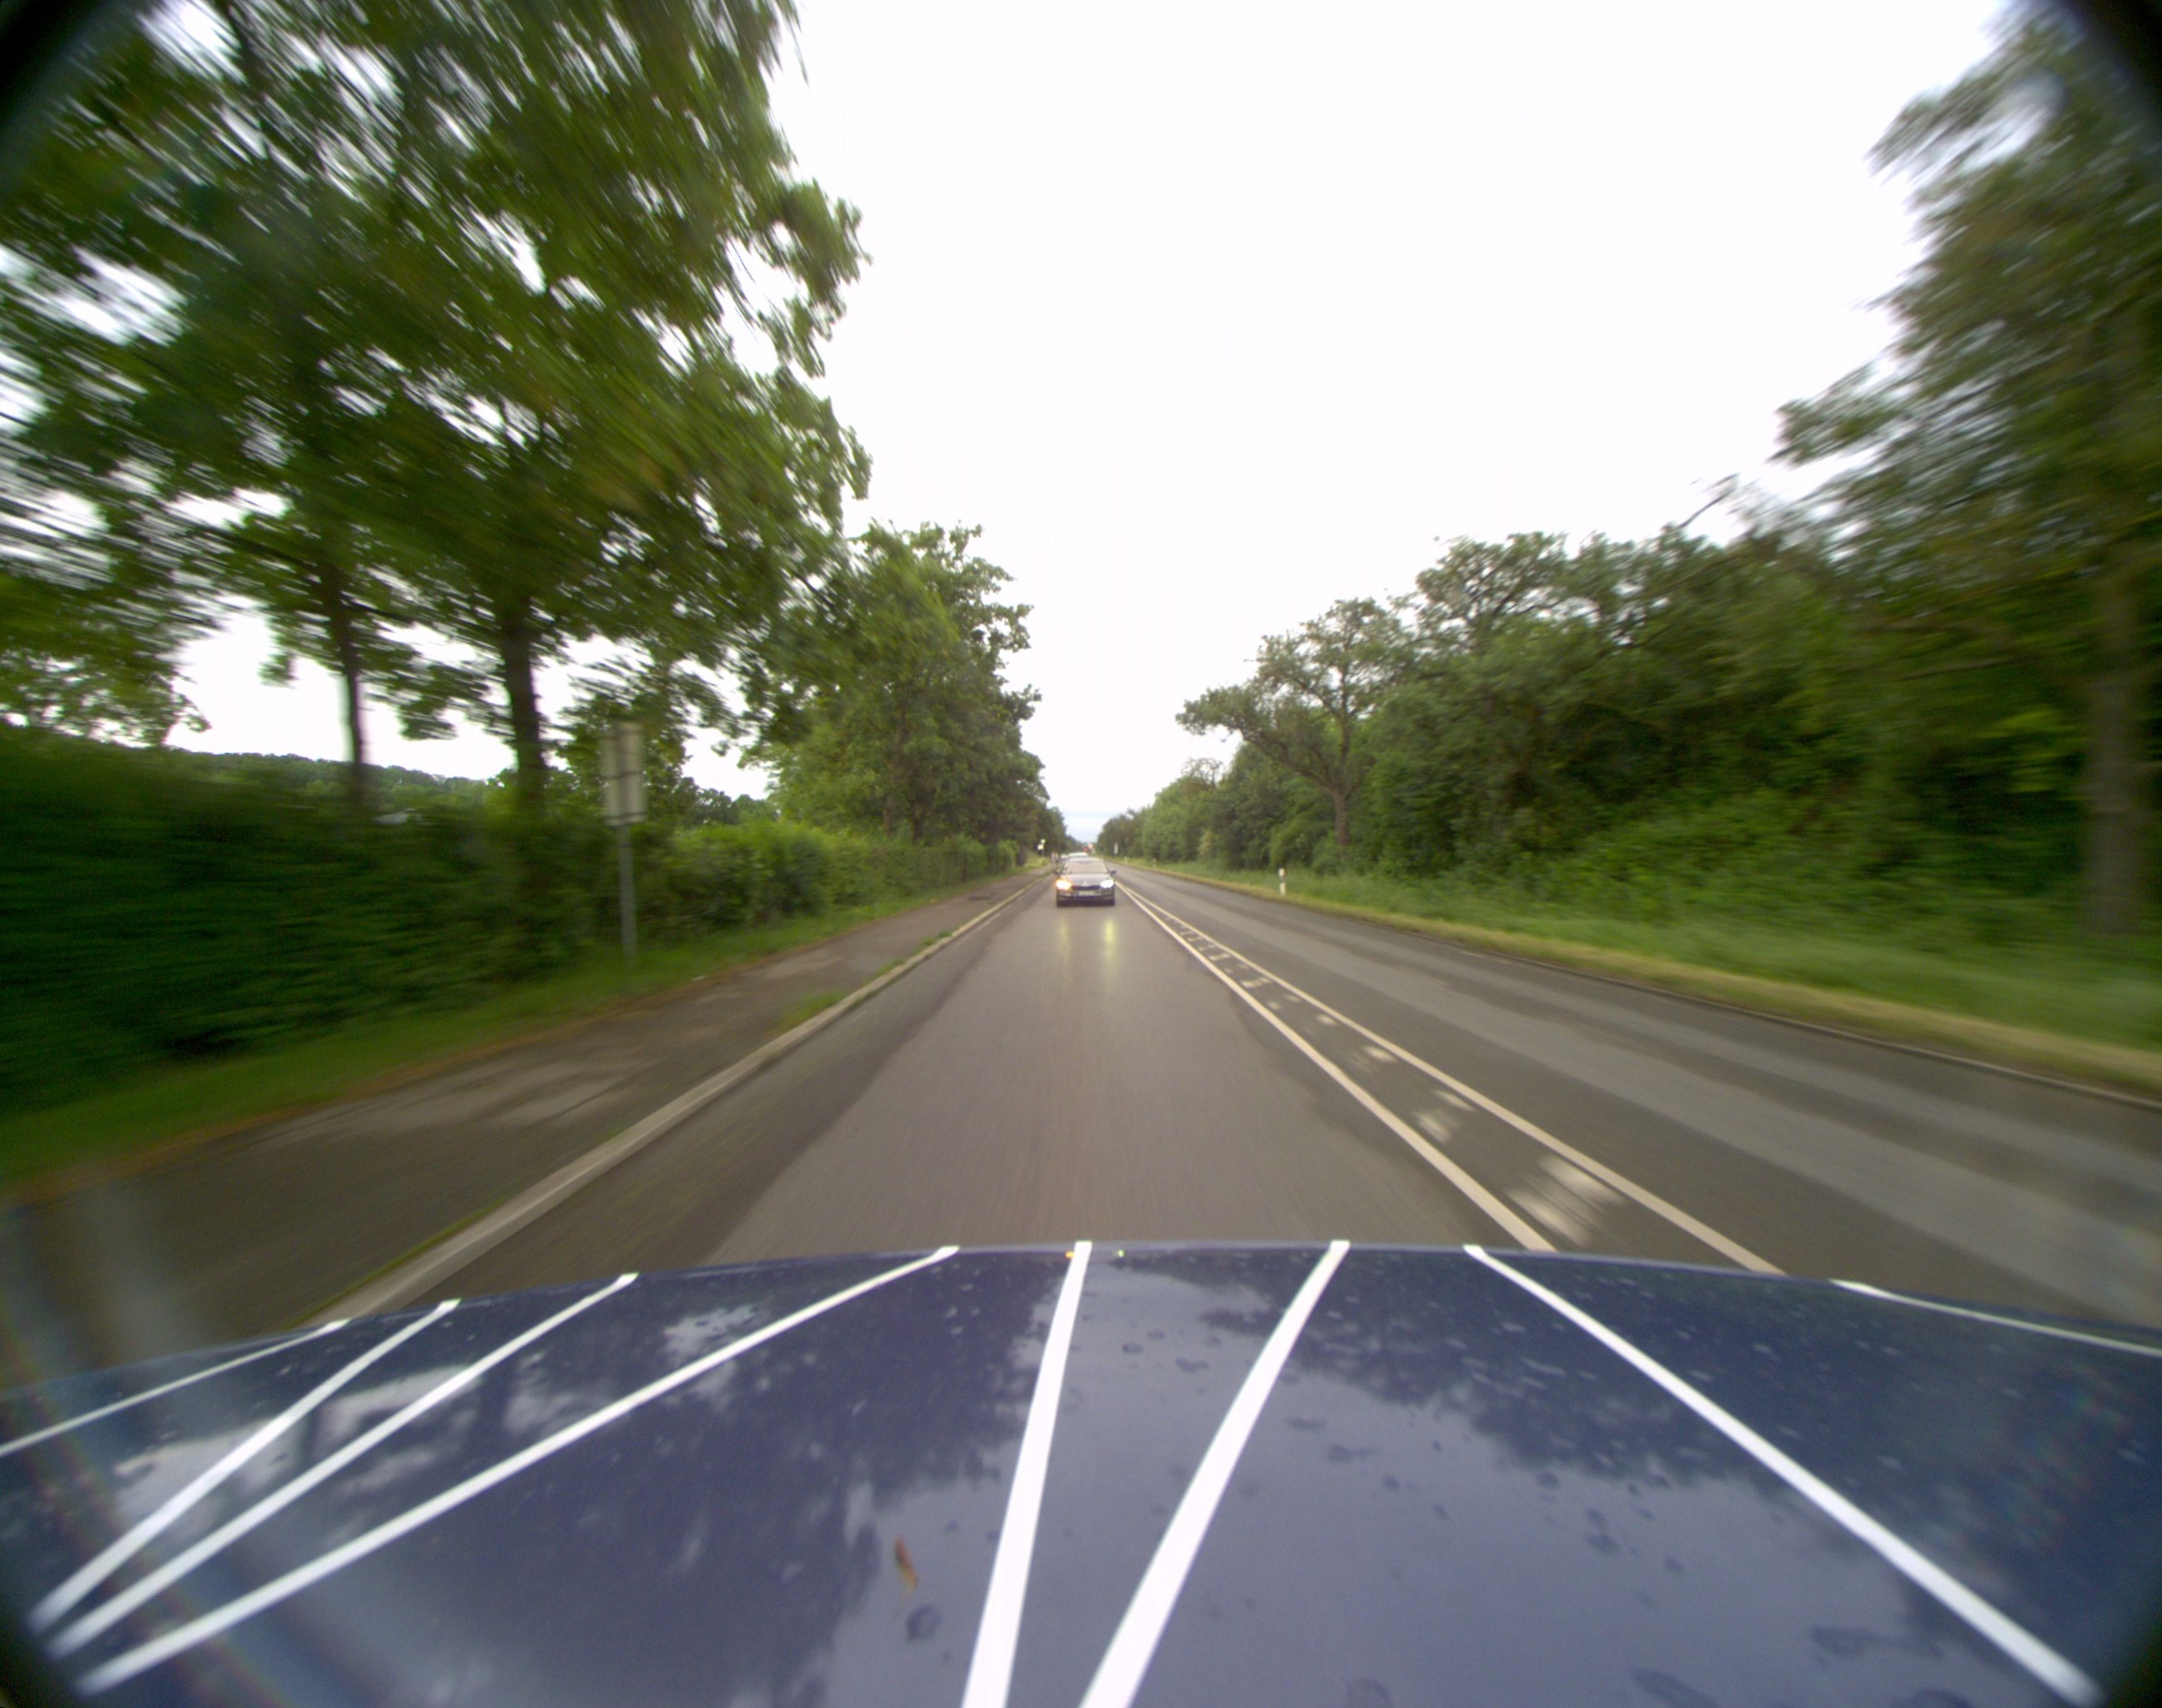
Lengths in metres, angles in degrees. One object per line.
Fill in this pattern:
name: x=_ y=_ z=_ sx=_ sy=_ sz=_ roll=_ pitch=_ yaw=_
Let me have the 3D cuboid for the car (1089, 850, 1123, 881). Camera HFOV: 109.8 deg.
car: x=1.470 y=0.676 z=46.404 sx=1.915 sy=1.691 sz=3.913 roll=-2 pitch=1 yaw=0

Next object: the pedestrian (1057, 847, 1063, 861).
pedestrian: x=-2.684 y=0.048 z=97.937 sx=0.663 sy=1.768 sz=0.759 roll=0 pitch=1 yaw=-17

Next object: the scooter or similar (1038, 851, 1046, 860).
scooter or similar: x=-5.589 y=0.215 z=108.338 sx=1.323 sy=1.199 sz=0.375 roll=1 pitch=1 yaw=41

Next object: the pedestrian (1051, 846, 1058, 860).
pedestrian: x=-3.352 y=-0.097 z=96.932 sx=0.696 sy=1.817 sz=0.800 roll=0 pitch=1 yaw=-17

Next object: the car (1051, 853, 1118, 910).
car: x=0.108 y=0.798 z=24.405 sx=1.915 sy=1.543 sz=4.354 roll=-2 pitch=1 yaw=0

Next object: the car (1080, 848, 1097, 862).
car: x=0.899 y=0.123 z=92.073 sx=1.887 sy=1.543 sz=3.475 roll=-2 pitch=1 yaw=0

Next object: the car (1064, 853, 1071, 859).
car: x=-3.569 y=0.404 z=197.256 sx=1.749 sy=1.460 sz=4.220 roll=1 pitch=1 yaw=0
